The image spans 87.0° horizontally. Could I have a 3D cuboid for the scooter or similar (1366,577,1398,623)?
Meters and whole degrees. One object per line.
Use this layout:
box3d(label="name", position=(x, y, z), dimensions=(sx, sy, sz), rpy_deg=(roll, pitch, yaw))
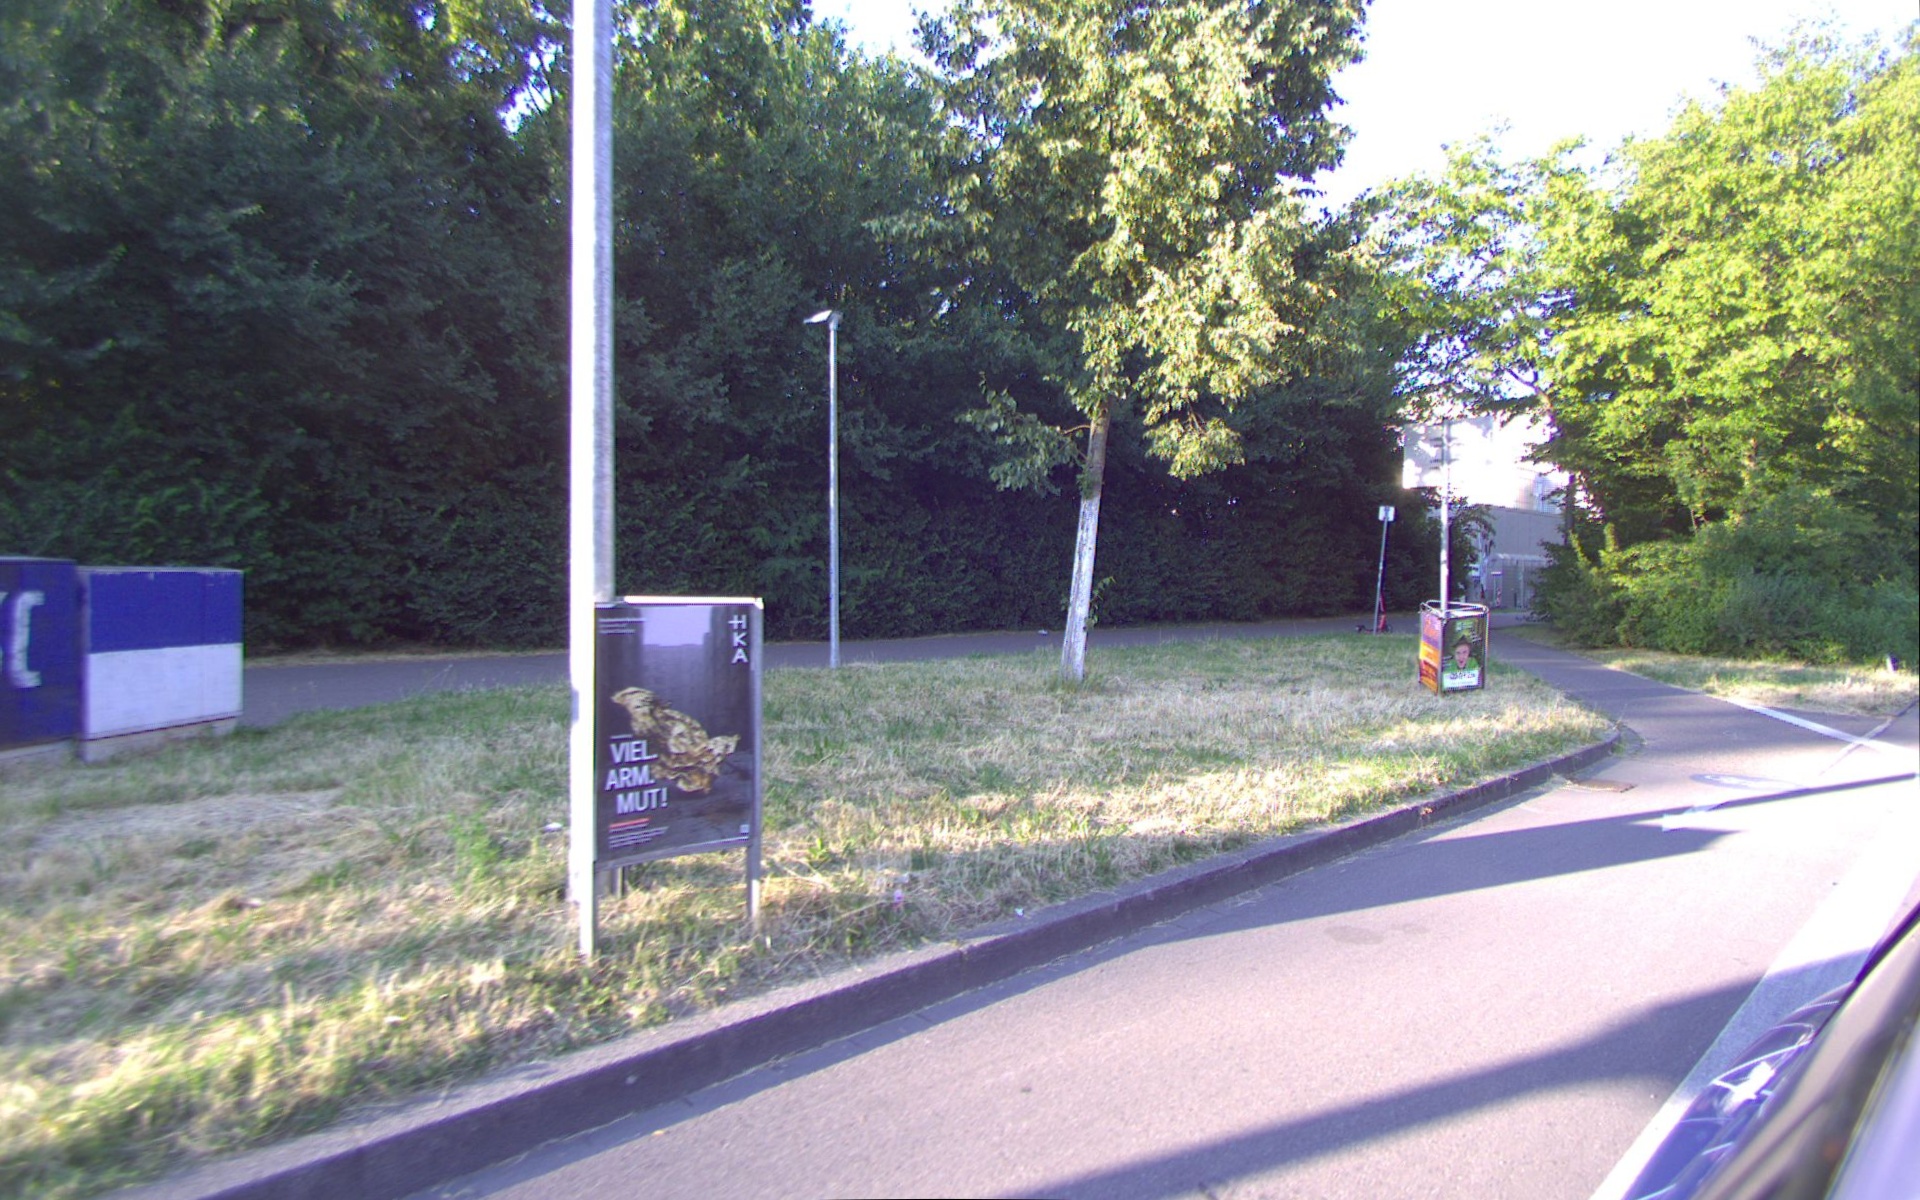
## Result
box3d(label="scooter or similar", position=(10.071, -0.001, 24.149), dimensions=(0.819, 1.100, 0.194), rpy_deg=(0, -1, -27))
